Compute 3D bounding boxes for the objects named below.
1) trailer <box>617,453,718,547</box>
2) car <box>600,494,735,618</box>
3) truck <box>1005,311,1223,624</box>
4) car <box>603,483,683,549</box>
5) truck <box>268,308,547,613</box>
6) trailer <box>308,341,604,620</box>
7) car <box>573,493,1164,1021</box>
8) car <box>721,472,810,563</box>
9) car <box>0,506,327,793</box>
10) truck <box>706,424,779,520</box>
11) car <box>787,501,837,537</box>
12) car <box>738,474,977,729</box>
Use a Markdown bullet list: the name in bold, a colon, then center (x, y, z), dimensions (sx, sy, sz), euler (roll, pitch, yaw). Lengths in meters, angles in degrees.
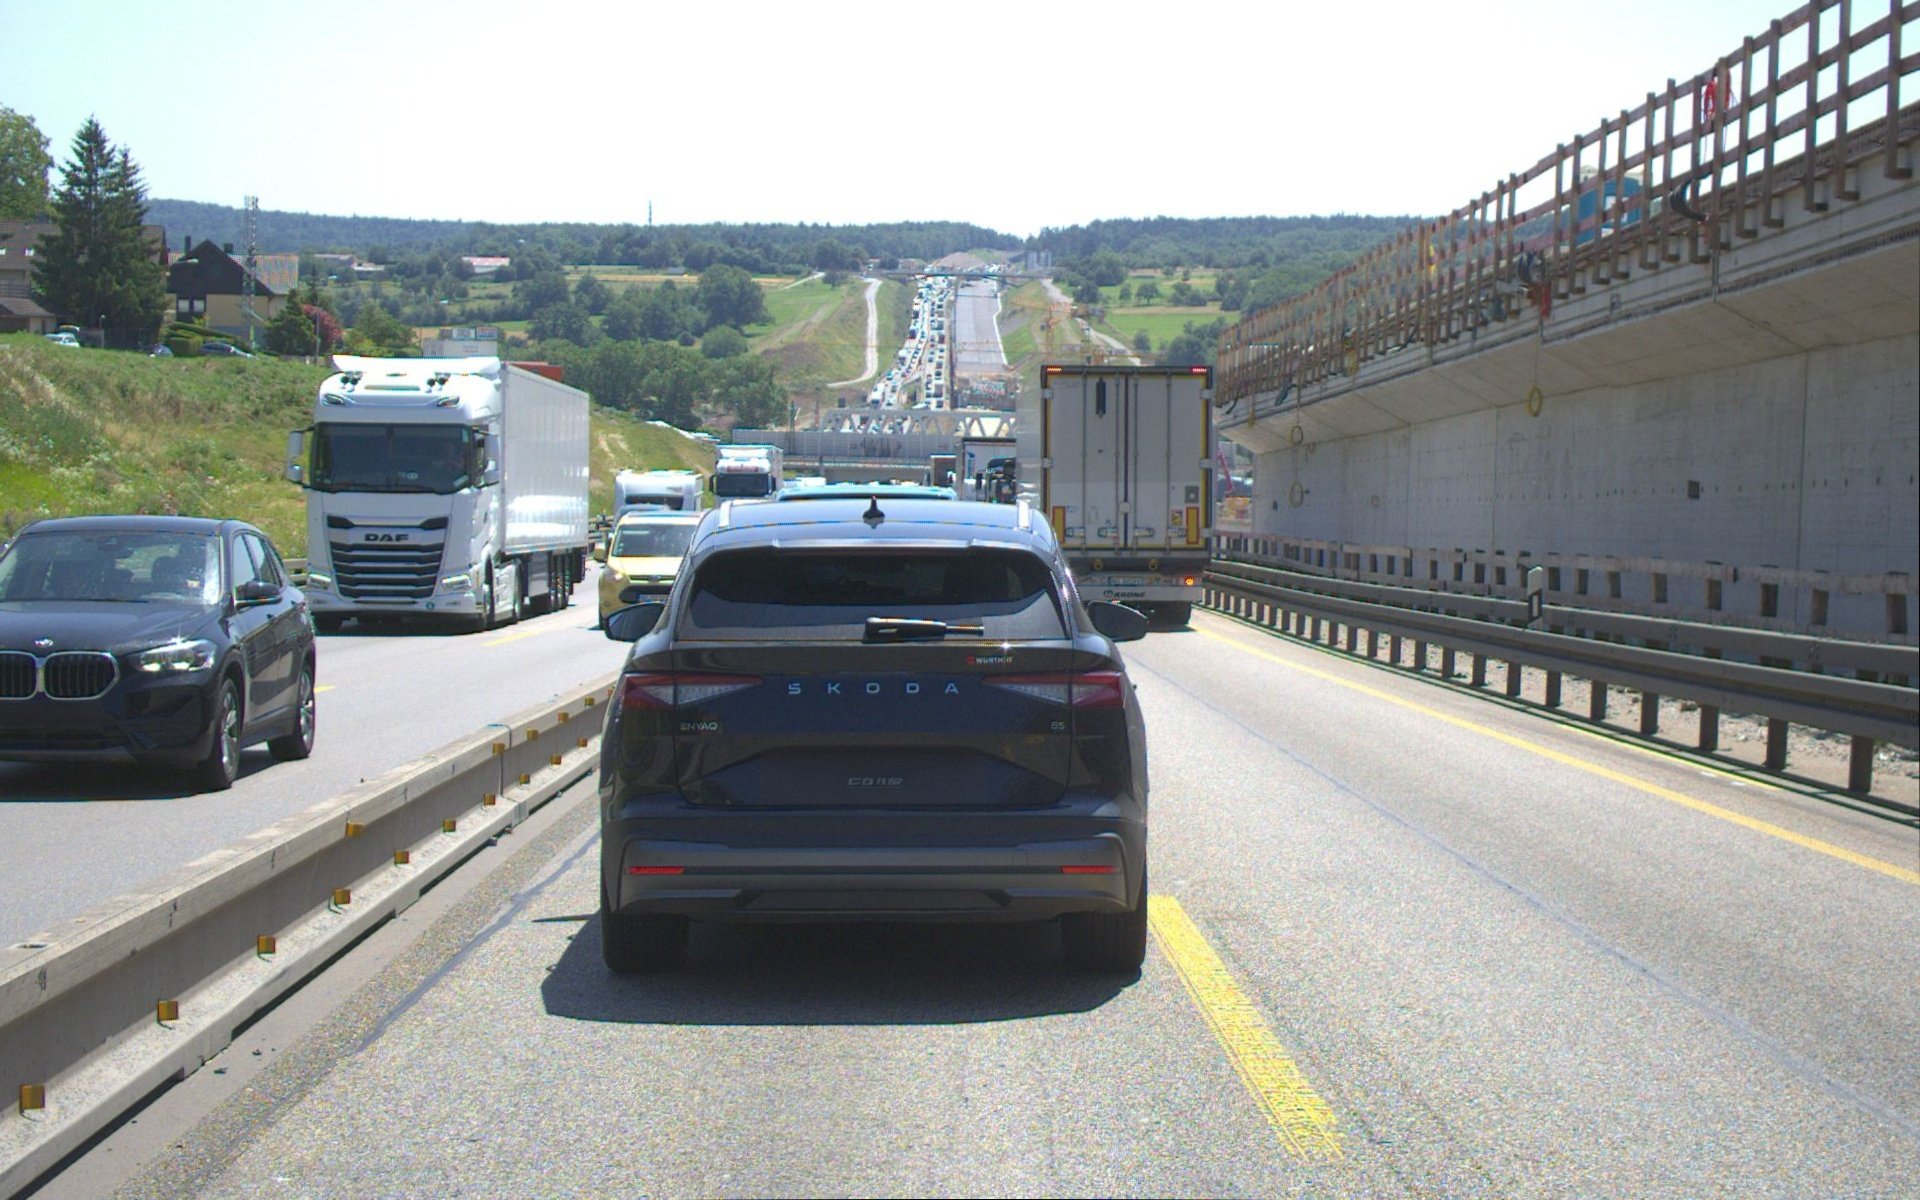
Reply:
- **trailer**: center (-8.549, -2.895, 101.063), dimensions (2.485, 2.604, 5.867), euler (0, 0, 0)
- **car**: center (-4.492, -0.698, 53.327), dimensions (1.775, 1.814, 4.434), euler (1, 1, -1)
- **truck**: center (2.384, -2.012, 57.286), dimensions (2.846, 4.599, 11.812), euler (2, 0, -1)
- **car**: center (-8.519, -2.234, 92.629), dimensions (1.747, 1.579, 4.000), euler (4, 0, -1)
- **truck**: center (-8.147, -1.984, 51.507), dimensions (3.180, 4.223, 6.485), euler (1, 0, -1)
- **trailer**: center (-8.238, -1.933, 58.180), dimensions (3.220, 4.144, 13.409), euler (1, 1, -1)
- **car**: center (-0.349, 0.451, 12.388), dimensions (1.782, 1.592, 3.755), euler (1, 1, -2)
- **car**: center (-4.516, -1.904, 80.388), dimensions (1.862, 2.007, 4.806), euler (1, 0, -1)
- **car**: center (-5.022, 0.223, 20.874), dimensions (1.700, 1.555, 4.104), euler (1, 1, -2)
- **truck**: center (-9.860, -5.773, 156.456), dimensions (2.753, 4.212, 8.100), euler (1, 1, 0)
- **car**: center (-5.880, -3.204, 136.610), dimensions (1.771, 1.284, 4.000), euler (2, 0, 0)
- **car**: center (-0.904, -0.019, 28.526), dimensions (1.749, 1.888, 3.756), euler (3, 1, -3)
